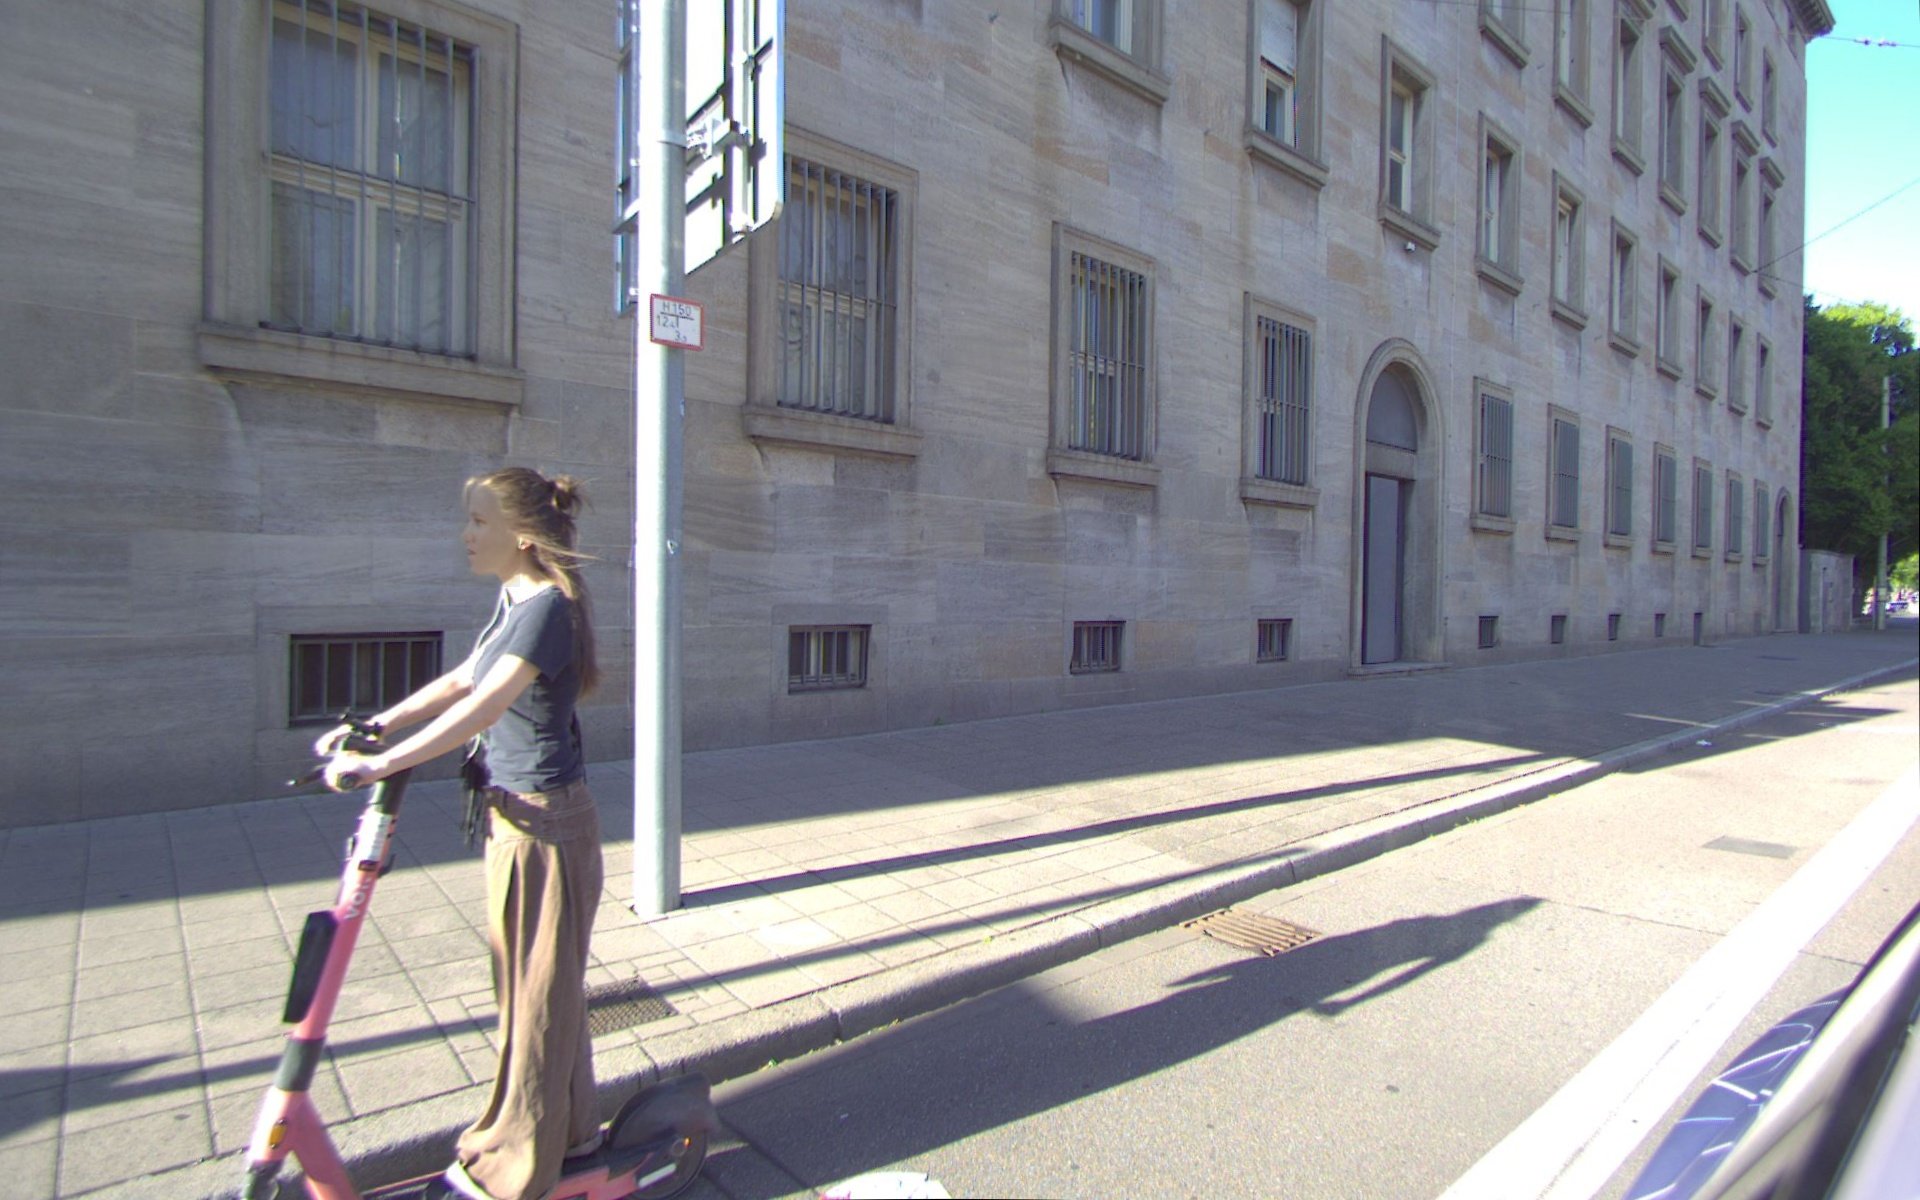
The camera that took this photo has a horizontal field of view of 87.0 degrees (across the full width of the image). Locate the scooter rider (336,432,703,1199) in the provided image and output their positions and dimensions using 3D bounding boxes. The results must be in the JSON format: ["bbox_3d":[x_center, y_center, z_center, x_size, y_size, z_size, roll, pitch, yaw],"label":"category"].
[{"bbox_3d":[-1.011,0.534,2.281,0.547,1.692,0.730,0,1,-42],"label":"scooter rider"}]

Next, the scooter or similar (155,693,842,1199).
[{"bbox_3d":[-0.963,0.875,2.279,1.305,1.200,0.535,0,1,-42],"label":"scooter or similar"}]
